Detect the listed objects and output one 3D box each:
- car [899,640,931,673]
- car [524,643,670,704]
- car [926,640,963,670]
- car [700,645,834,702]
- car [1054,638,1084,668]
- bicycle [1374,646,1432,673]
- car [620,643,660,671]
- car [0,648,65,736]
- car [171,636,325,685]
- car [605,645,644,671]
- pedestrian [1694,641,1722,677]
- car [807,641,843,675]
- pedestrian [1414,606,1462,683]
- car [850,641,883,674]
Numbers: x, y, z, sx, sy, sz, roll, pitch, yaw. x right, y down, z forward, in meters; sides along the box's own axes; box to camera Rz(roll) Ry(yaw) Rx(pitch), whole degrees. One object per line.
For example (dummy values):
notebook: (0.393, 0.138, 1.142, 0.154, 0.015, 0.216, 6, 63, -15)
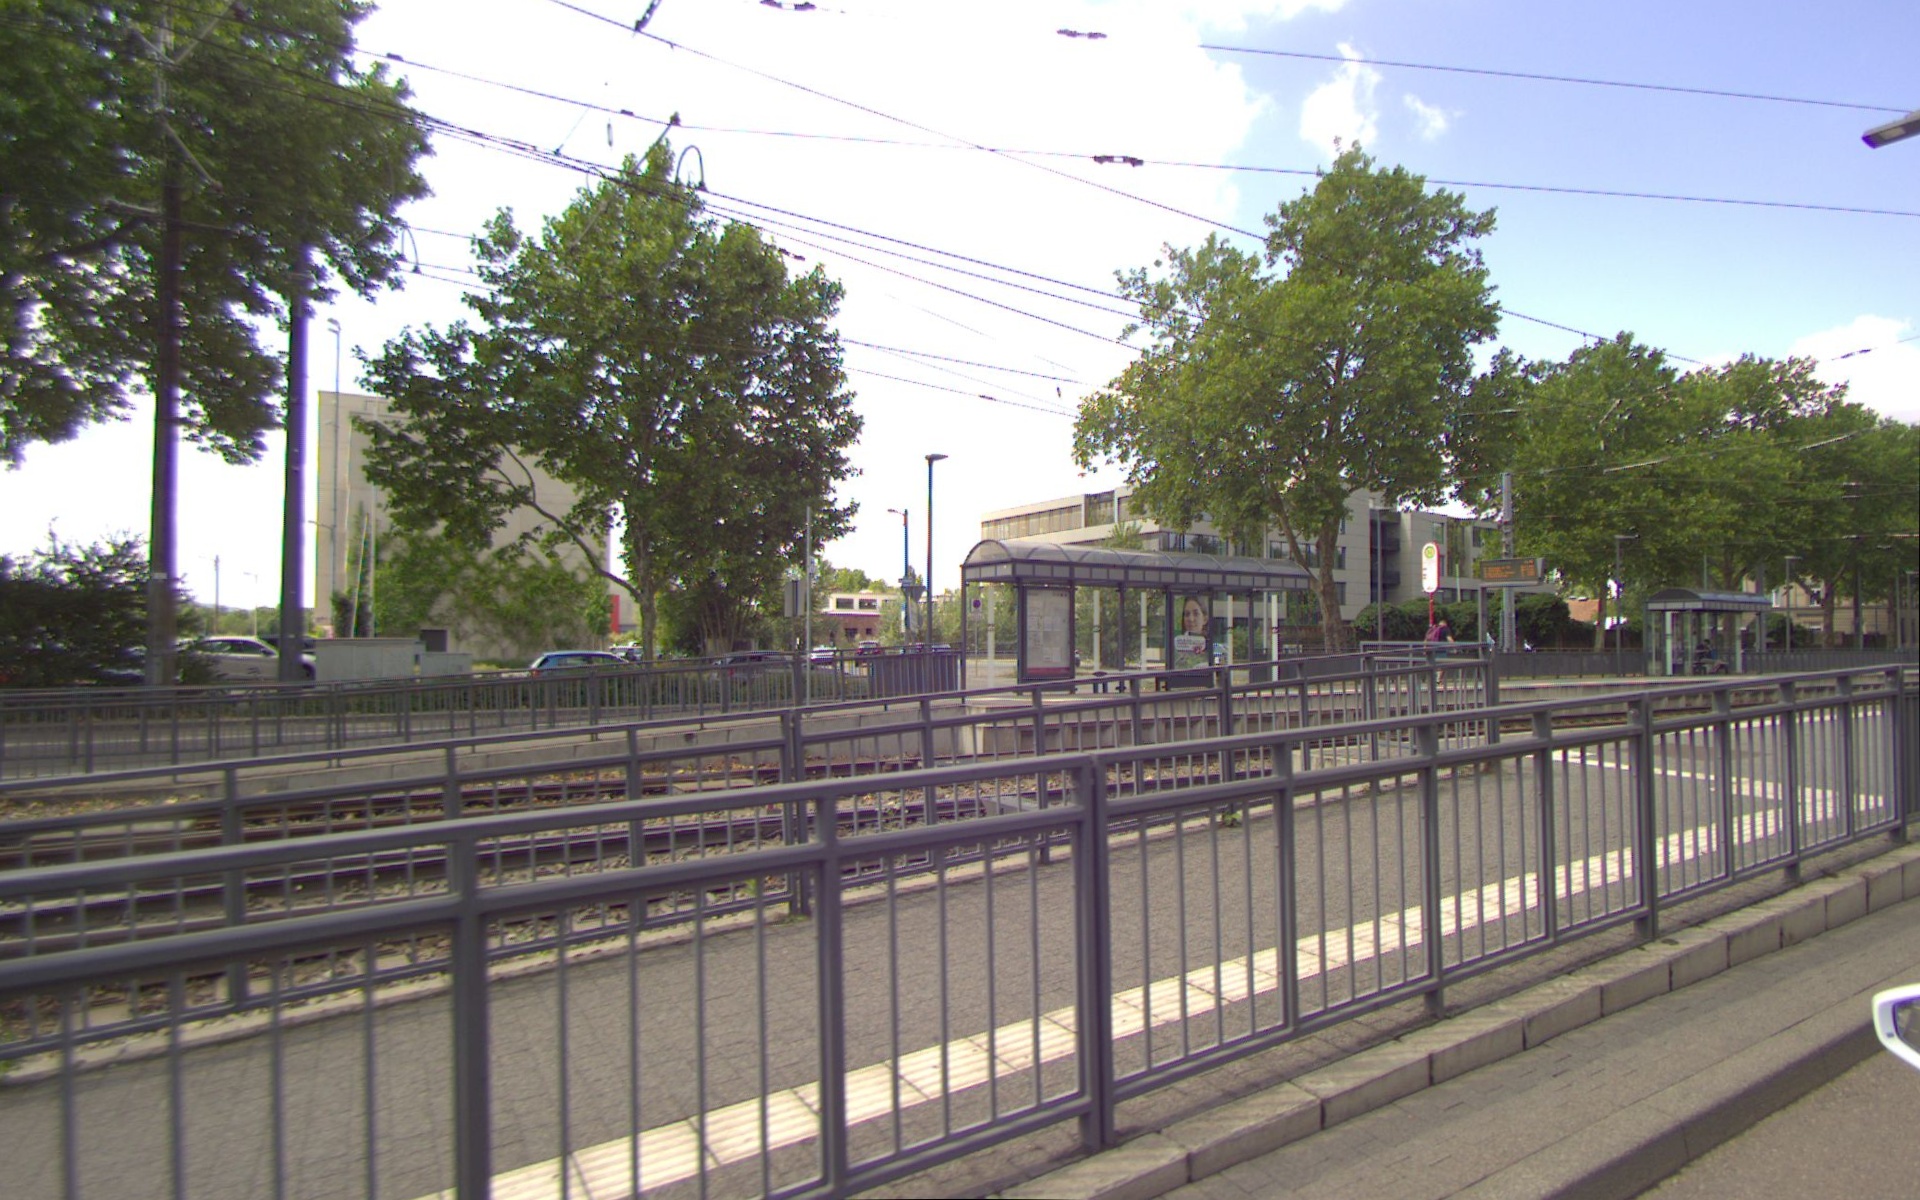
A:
car: (-2.929, 3.709, 65.112, 1.962, 2.039, 4.438, 0, -4, -4)
car: (-10.022, 1.984, 27.753, 3.608, 1.554, 1.684, 0, -2, -29)
car: (-1.076, 3.839, 70.912, 1.959, 2.040, 4.003, -1, -2, 8)
car: (-5.743, 2.147, 29.946, 3.608, 1.554, 1.684, 0, -2, -29)
car: (7.713, 3.720, 70.751, 1.959, 2.040, 4.003, -1, -2, 8)
bicycle: (22.928, 3.063, 52.026, 0.626, 1.183, 3.027, 1, 0, -27)
car: (-21.792, 3.917, 68.309, 1.740, 1.837, 4.013, 1, -4, -31)
car: (-20.922, 1.939, 21.745, 1.785, 1.772, 3.962, 1, -3, -34)
car: (-22.909, 1.927, 32.526, 3.957, 1.495, 1.788, 1, -3, -33)
car: (-24.104, 4.191, 72.094, 1.740, 1.837, 4.013, 1, -4, -31)
pedestrian: (26.864, 2.112, 36.065, 0.759, 1.286, 0.550, 1, -2, -31)
car: (-8.625, 3.742, 64.557, 1.962, 2.039, 4.438, 0, -4, -4)
pedestrian: (11.835, 1.083, 24.858, 0.855, 1.869, 0.702, 0, -1, -33)
car: (-5.978, 3.716, 64.649, 1.962, 2.039, 4.438, 0, -4, -4)
